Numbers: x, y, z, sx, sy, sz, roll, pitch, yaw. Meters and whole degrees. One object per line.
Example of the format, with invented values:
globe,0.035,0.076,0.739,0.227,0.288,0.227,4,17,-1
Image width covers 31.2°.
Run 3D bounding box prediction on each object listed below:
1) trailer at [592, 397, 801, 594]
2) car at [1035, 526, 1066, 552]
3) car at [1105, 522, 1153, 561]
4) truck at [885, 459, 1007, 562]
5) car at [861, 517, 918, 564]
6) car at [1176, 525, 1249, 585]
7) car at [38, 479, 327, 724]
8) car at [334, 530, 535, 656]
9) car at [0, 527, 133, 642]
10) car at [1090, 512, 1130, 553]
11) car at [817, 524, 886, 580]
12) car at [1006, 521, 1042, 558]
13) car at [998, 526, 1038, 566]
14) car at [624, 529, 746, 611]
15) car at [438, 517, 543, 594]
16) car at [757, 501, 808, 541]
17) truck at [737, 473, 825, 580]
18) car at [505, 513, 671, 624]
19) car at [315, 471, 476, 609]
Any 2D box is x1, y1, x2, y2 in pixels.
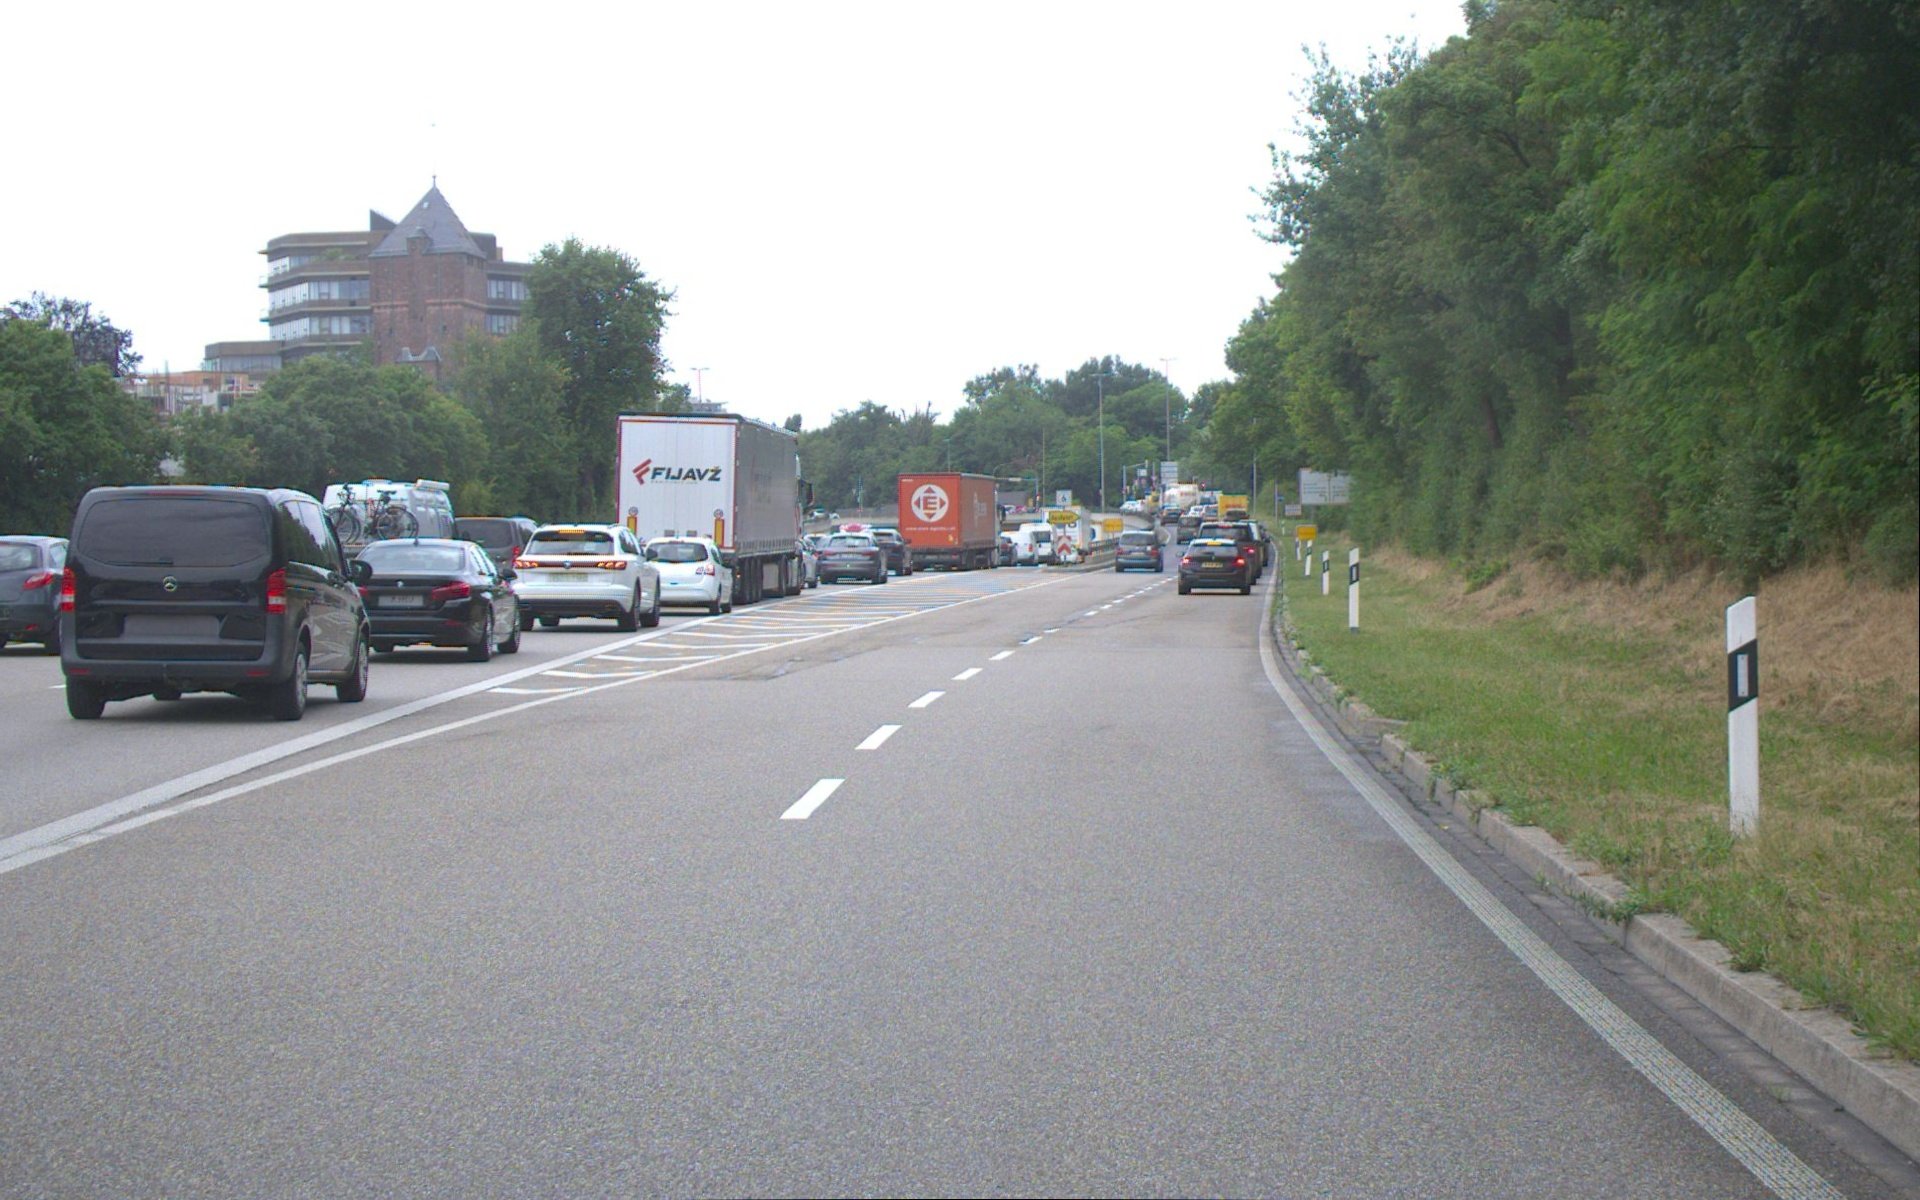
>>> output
trailer,-5.729,-2.225,77.365,3.299,4.022,13.097,1,1,2
car,5.196,-3.537,197.785,1.777,1.477,4.000,-1,1,1
car,6.576,-2.295,134.194,1.825,1.477,4.000,-1,1,3
truck,-0.487,-3.782,145.327,3.490,4.059,13.589,-1,1,7
car,-2.540,-2.139,124.185,1.717,1.678,4.000,1,1,4
car,6.519,-1.174,88.604,1.825,1.477,4.000,0,1,5
car,-6.502,-0.023,29.230,1.987,1.891,4.986,0,1,-8
car,-6.411,-0.111,42.403,1.847,1.455,4.831,1,1,-1
car,-11.750,-0.222,43.440,1.674,1.384,4.000,-1,1,-1
car,7.495,-3.394,172.184,1.951,2.007,4.000,-1,1,3
car,-3.291,-1.457,105.256,1.717,1.678,4.000,1,1,4
car,3.363,-3.160,180.451,1.614,1.941,3.704,1,1,5
car,2.852,-2.645,168.517,1.615,1.941,3.704,1,1,7
car,-5.207,-0.585,65.476,1.764,1.473,4.089,2,1,3
car,-10.603,-0.997,77.805,1.716,1.676,4.000,1,1,2
car,-8.934,-3.985,173.489,1.994,2.007,3.999,-1,1,5
truck,-7.106,-2.892,137.687,2.738,4.124,10.697,1,1,1
car,-5.936,-0.507,55.349,1.956,1.689,4.865,1,1,2
car,-10.836,-1.170,66.372,1.994,2.544,5.362,-1,1,2
